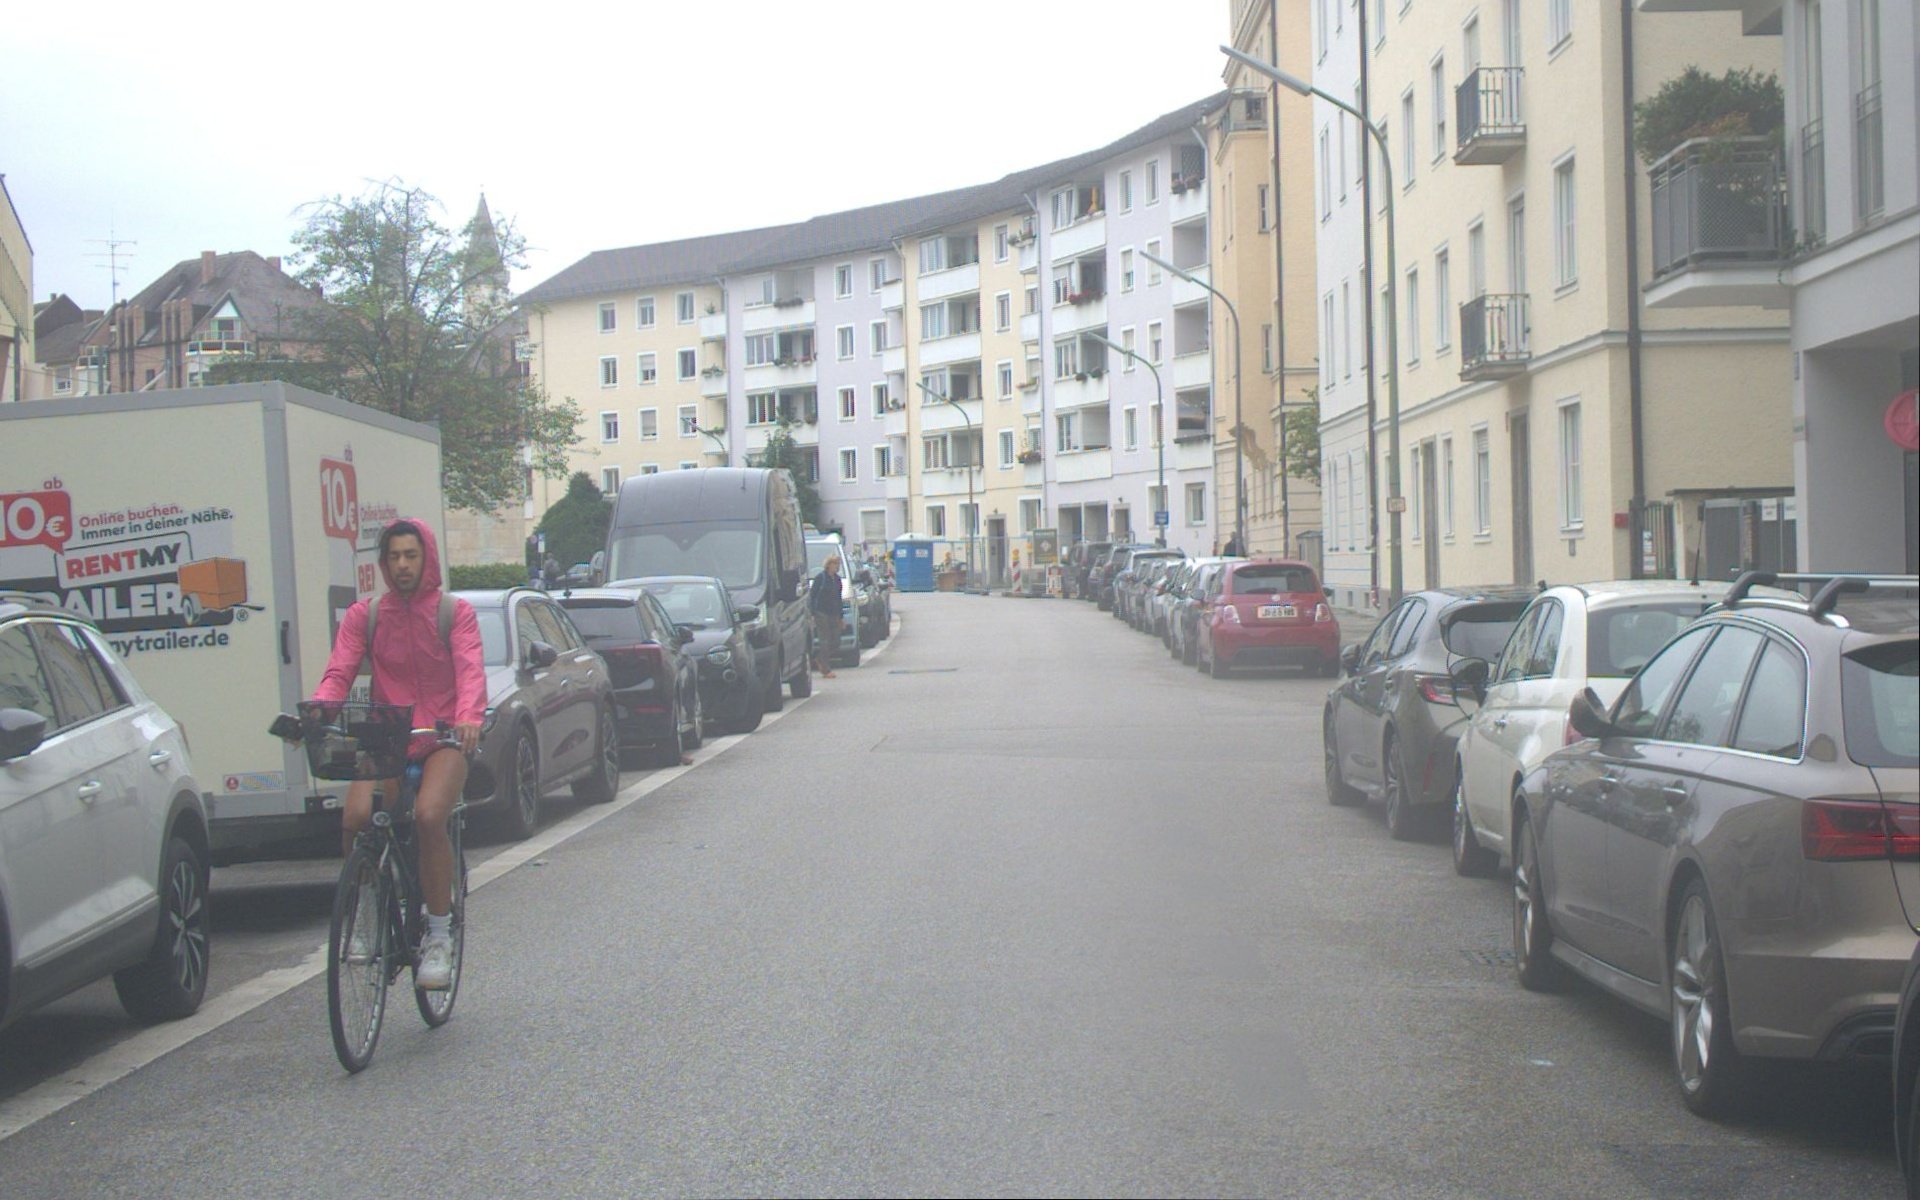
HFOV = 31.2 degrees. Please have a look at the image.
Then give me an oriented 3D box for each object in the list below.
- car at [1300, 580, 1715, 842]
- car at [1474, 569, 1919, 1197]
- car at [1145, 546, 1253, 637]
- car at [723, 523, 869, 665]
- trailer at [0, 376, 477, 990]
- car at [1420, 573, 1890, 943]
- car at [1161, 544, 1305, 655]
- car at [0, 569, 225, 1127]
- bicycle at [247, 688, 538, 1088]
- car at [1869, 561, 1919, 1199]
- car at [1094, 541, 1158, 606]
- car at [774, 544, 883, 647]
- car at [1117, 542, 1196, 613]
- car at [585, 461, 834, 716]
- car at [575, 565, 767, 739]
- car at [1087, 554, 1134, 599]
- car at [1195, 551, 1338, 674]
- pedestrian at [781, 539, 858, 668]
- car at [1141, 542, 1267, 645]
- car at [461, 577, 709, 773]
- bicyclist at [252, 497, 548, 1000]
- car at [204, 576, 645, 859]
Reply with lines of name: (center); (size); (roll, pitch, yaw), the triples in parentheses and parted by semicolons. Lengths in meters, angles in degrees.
car: (3.185, 0.595, 20.775); (1.763, 1.403, 4.079); (-1, 0, -1)
car: (2.840, 0.695, 10.796); (1.734, 1.525, 4.622); (1, 1, 0)
car: (4.168, -0.172, 60.392); (1.599, 1.486, 3.799); (-1, 1, 0)
car: (-2.405, -0.133, 51.431); (1.882, 1.925, 4.601); (-3, 1, 0)
trailer: (-3.653, 0.320, 16.210); (1.709, 2.453, 4.386); (-3, 1, 4)
car: (3.152, 0.649, 16.187); (1.519, 1.525, 3.526); (1, 1, 1)
car: (3.888, -0.020, 49.574); (1.692, 1.486, 4.343); (-1, 0, 0)
car: (-3.654, 0.756, 10.926); (1.687, 1.597, 3.921); (-3, 1, 1)
bicycle: (-1.830, 0.897, 11.311); (0.504, 1.124, 1.773); (-2, 1, 4)
car: (2.699, 0.727, 5.139); (1.603, 1.525, 3.984); (1, 1, 0)
car: (4.318, -0.716, 89.857); (1.474, 1.635, 4.001); (0, 1, 0)
car: (-2.337, -0.109, 61.883); (1.701, 1.685, 4.028); (-3, 1, 0)
car: (4.544, -0.550, 79.935); (1.590, 1.577, 4.299); (0, 1, 0)
car: (-2.712, -0.182, 38.580); (2.088, 2.627, 5.376); (-1, 1, 3)
car: (-2.768, 0.464, 33.492); (1.585, 1.533, 3.544); (-2, 1, -1)
car: (4.449, -0.715, 101.794); (1.272, 1.294, 2.797); (-1, 1, 0)
car: (3.946, 0.127, 44.722); (1.595, 1.503, 3.800); (-1, 1, 2)
pedestrian: (-1.899, 0.058, 46.508); (0.794, 1.722, 0.672); (1, -1, -45)
car: (3.871, -0.133, 55.074); (1.692, 1.486, 4.283); (-1, 2, 0)
car: (-3.045, 0.568, 28.588); (1.700, 1.441, 3.825); (0, 1, -1)
bicyclist: (-1.815, 0.459, 11.261); (0.694, 1.556, 0.966); (-2, 1, 4)
car: (-3.296, 0.662, 22.069); (1.767, 1.533, 4.540); (-3, 0, 4)
